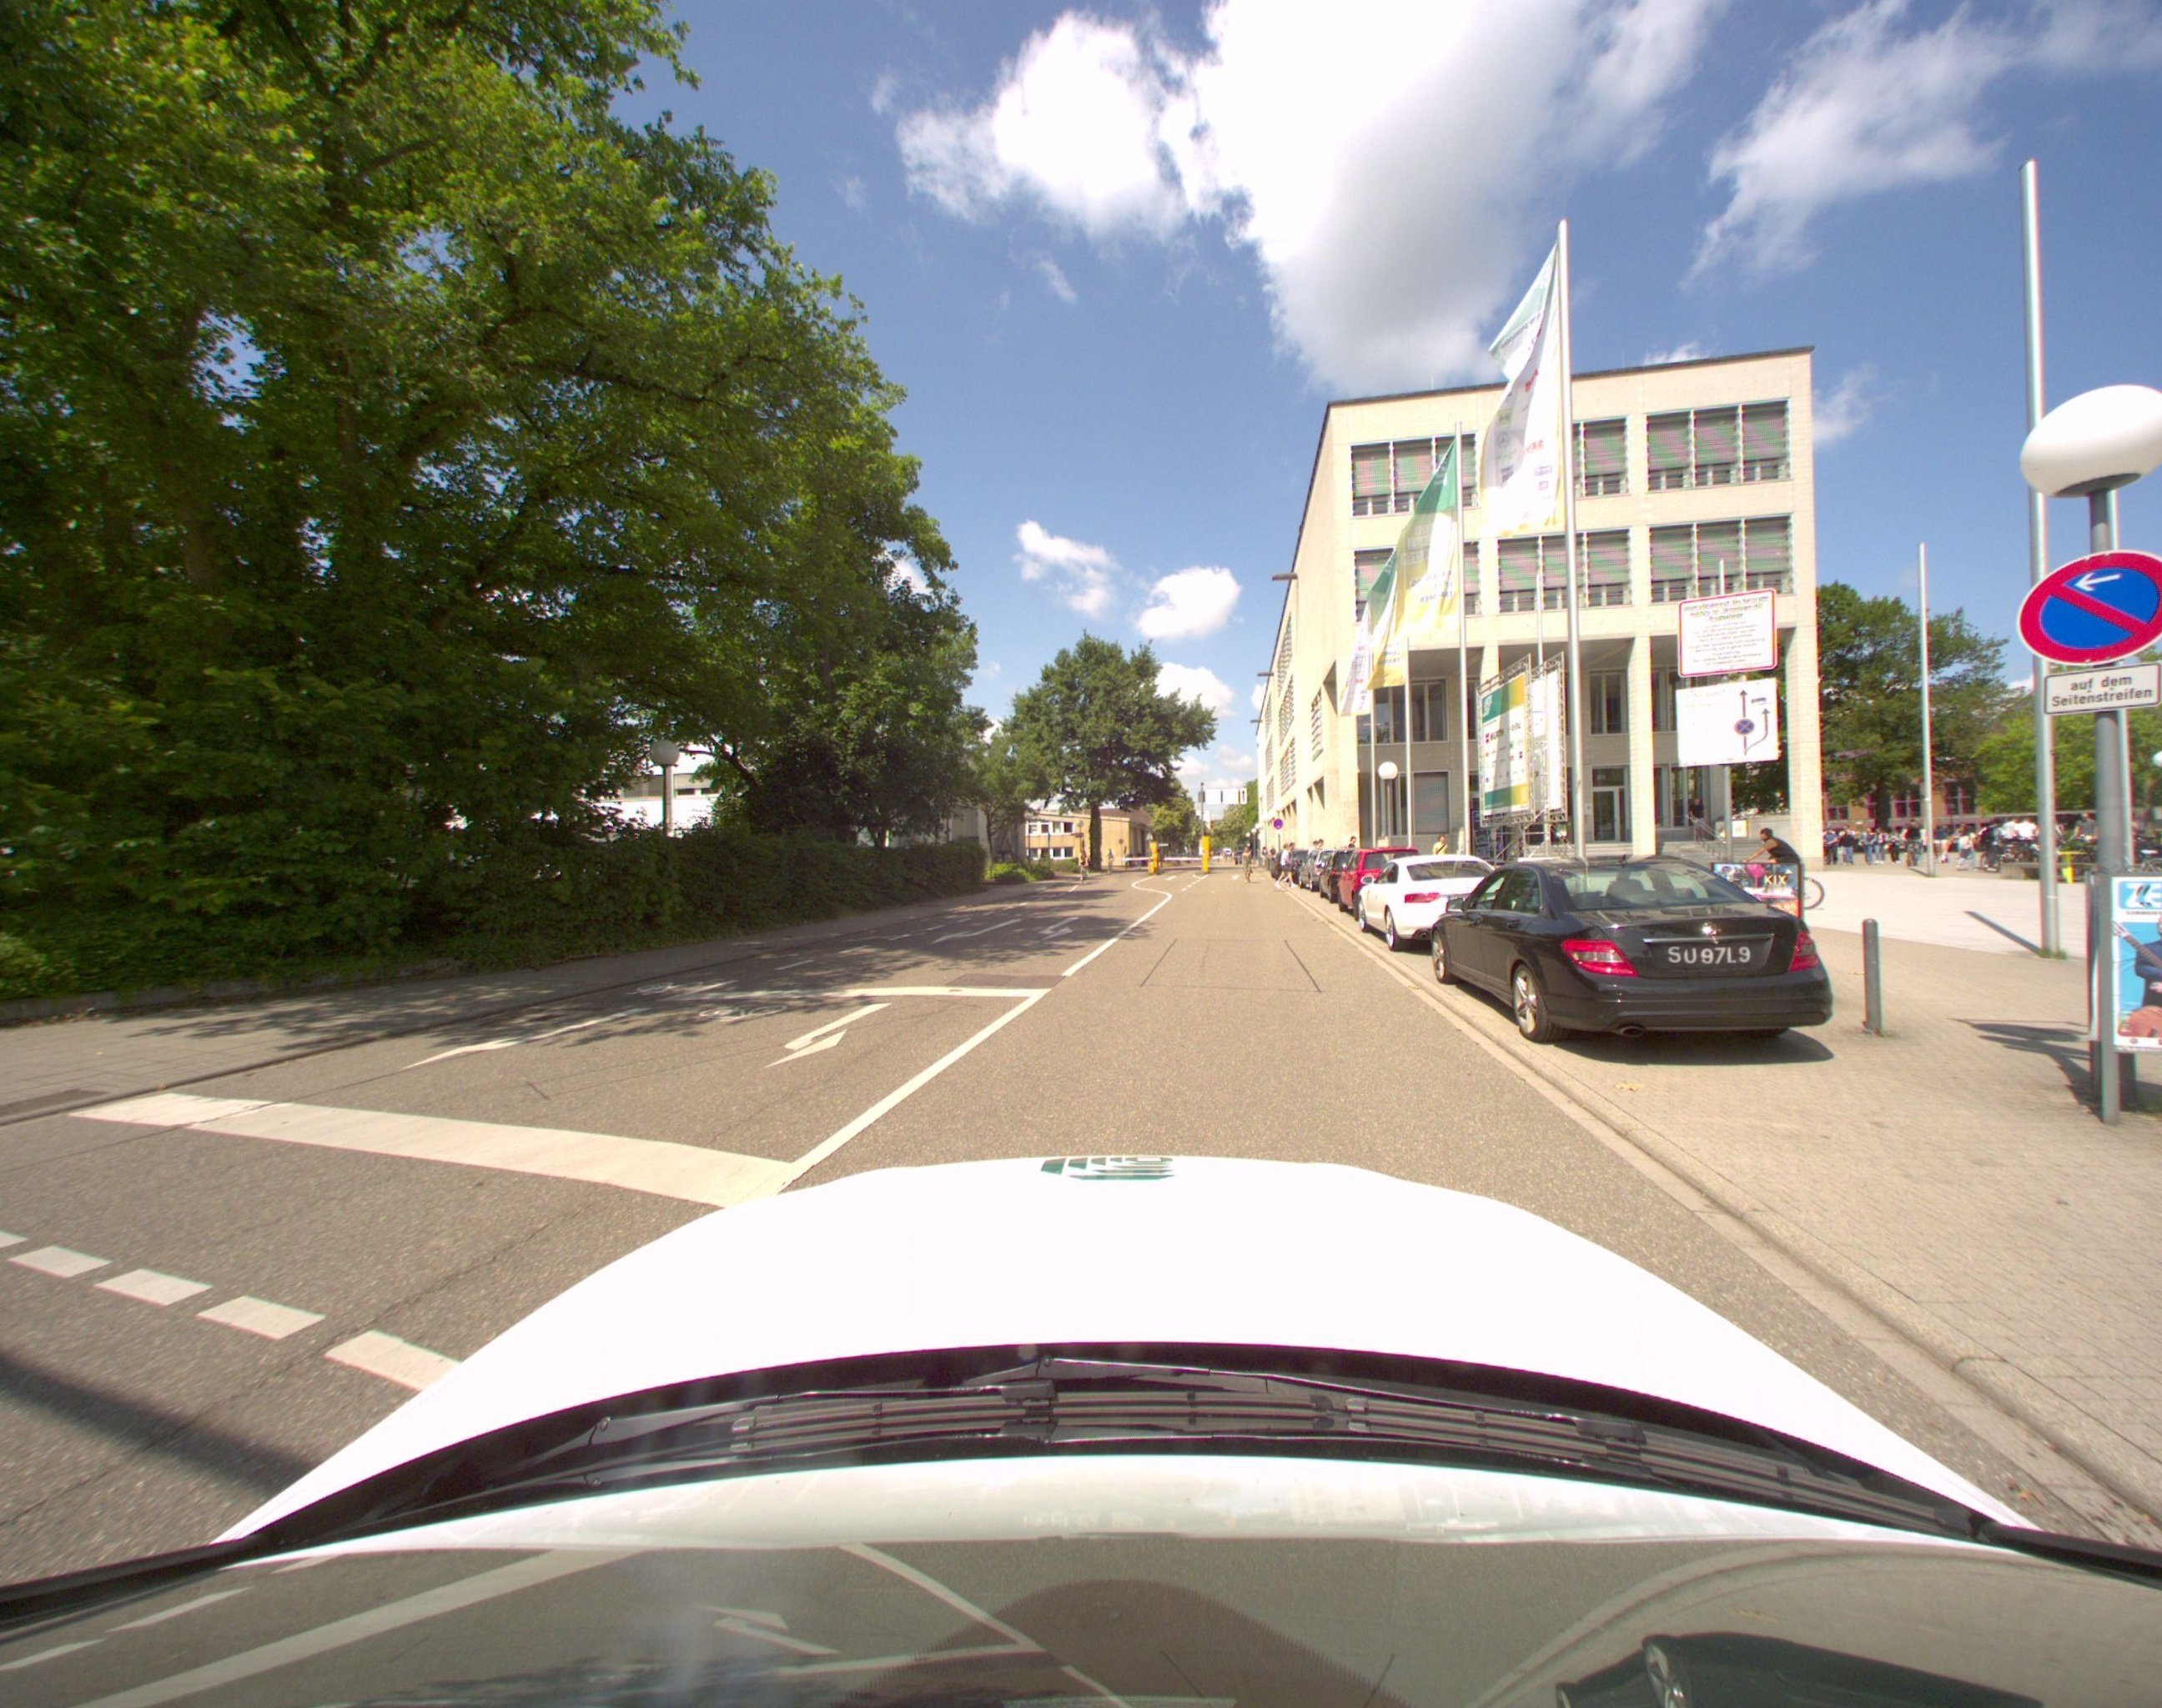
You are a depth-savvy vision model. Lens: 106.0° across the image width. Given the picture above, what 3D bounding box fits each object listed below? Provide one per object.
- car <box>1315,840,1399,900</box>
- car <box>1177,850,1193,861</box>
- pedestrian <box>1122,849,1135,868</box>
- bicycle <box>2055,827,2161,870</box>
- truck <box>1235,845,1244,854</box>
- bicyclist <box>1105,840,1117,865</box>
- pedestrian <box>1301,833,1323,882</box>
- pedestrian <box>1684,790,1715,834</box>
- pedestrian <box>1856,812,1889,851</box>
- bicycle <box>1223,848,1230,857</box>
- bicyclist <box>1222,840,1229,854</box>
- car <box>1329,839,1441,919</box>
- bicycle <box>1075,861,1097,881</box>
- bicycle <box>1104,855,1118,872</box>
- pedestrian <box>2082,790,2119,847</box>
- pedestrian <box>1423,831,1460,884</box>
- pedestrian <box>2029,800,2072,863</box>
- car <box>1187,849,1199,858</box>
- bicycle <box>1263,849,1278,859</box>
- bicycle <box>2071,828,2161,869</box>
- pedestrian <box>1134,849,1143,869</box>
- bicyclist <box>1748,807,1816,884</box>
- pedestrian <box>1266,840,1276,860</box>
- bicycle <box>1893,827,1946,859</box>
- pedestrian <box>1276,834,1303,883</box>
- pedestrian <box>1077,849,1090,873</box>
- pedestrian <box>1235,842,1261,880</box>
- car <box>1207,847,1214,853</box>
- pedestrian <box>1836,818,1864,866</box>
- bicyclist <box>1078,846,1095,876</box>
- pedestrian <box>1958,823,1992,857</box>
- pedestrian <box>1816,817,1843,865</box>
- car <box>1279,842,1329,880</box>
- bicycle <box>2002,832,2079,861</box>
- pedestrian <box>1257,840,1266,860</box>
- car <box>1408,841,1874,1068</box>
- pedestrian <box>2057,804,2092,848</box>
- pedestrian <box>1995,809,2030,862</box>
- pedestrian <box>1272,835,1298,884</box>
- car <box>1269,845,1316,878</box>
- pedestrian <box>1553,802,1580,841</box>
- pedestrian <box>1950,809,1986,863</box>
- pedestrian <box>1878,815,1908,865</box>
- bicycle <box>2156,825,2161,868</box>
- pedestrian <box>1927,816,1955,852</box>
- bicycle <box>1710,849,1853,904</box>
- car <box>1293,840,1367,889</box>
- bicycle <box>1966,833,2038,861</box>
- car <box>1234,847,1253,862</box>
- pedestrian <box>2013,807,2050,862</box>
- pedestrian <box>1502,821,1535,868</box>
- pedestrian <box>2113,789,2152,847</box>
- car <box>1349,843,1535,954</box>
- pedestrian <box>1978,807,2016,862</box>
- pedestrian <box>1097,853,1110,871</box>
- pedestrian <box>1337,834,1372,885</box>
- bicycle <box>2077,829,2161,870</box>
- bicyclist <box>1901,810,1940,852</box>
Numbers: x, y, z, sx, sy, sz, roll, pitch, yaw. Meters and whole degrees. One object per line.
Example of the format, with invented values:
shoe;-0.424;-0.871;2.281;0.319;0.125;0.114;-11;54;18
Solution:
car;7.855;0.422;23.508;1.708;1.529;4.012;-2;0;11
car;15.873;0.186;124.142;1.981;1.545;4.224;-2;0;10
pedestrian;4.554;0.405;78.253;1.050;1.815;0.808;-2;0;9
bicycle;28.764;-0.136;22.807;0.604;1.099;1.755;-1;-2;-21
truck;38.373;-1.025;197.396;1.982;2.014;4.009;-2;-2;9
bicyclist;2.186;-0.118;58.451;0.688;1.736;0.921;-2;-1;9
pedestrian;9.225;0.142;32.524;0.718;1.925;0.755;-2;0;18
pedestrian;26.326;-1.791;34.669;0.713;1.798;0.719;-2;-2;13
pedestrian;35.312;-0.996;36.345;0.861;1.702;0.638;-3;-2;28
bicycle;22.246;-0.228;124.847;0.981;1.316;2.972;-2;-2;10
bicyclist;22.168;-1.079;124.899;0.981;2.132;1.039;-2;-2;9
car;6.701;0.482;18.355;1.604;1.496;4.160;-4;0;11
bicycle;0.283;0.877;43.529;0.788;0.989;2.215;-2;0;9
bicycle;2.176;0.671;58.565;0.688;1.171;2.215;-2;0;9
pedestrian;40.836;-1.404;32.622;0.716;2.229;0.630;-1;-2;-20
pedestrian;12.289;0.107;27.795;0.912;1.740;1.004;-2;0;10
pedestrian;34.930;-0.798;29.344;0.637;2.229;0.845;0;-3;-36
car;20.846;-0.047;151.920;1.981;1.545;4.224;-2;0;10
bicycle;20.983;-0.038;90.333;1.532;1.066;0.651;-3;0;17
bicycle;29.459;-0.142;23.009;0.604;1.099;1.755;-1;-2;-21
pedestrian;5.460;0.468;77.632;0.701;1.809;1.004;-2;0;9
bicyclist;14.781;-0.179;17.182;0.666;1.564;0.923;-2;0;-36
pedestrian;17.483;-0.377;74.914;0.762;1.780;0.913;-4;0;8
bicycle;32.320;-0.439;31.386;1.690;1.137;0.679;-3;1;-16
pedestrian;8.380;0.171;32.740;0.774;1.925;0.739;-2;0;32
pedestrian;0.196;0.460;56.568;0.709;1.627;0.886;-2;0;9
pedestrian;7.672;0.314;37.404;0.625;1.717;1.032;-2;0;-22
car;40.598;-1.241;255.067;1.980;1.720;4.013;-2;-2;13
pedestrian;36.099;-0.553;38.224;0.707;2.229;0.638;-3;-2;28
bicyclist;0.288;0.373;43.573;0.688;1.548;1.021;-2;-1;9
pedestrian;38.555;-0.596;35.136;0.628;1.437;0.719;-2;-2;13
pedestrian;35.450;-0.624;38.584;0.707;2.229;0.638;-3;-2;28
car;9.680;0.284;35.574;1.605;1.496;4.016;-2;0;9
bicycle;28.855;-0.223;24.500;1.758;0.792;0.520;-2;0;-3
pedestrian;16.650;-0.340;75.140;0.691;1.780;1.088;-4;0;8
car;4.584;0.661;7.747;1.707;1.400;4.963;-4;0;10
pedestrian;40.613;-1.134;33.290;0.716;1.777;0.630;-1;-2;-20
pedestrian;39.804;-0.788;34.804;0.634;2.229;0.711;-1;-2;-20
pedestrian;8.027;0.211;32.084;0.776;1.925;0.597;-2;0;32
car;10.331;0.340;40.034;1.855;1.464;4.533;-2;0;10
pedestrian;20.781;-1.374;34.877;0.713;1.585;0.719;-2;-2;13
pedestrian;29.277;-0.582;26.879;0.626;1.747;0.721;-4;-3;39
pedestrian;36.804;-0.618;36.940;0.707;2.229;0.638;-3;-2;28
bicycle;27.692;-0.229;19.782;0.604;1.099;1.755;-1;-2;-21
pedestrian;37.487;-0.869;35.512;0.626;1.498;0.721;-3;-2;32
bicycle;14.766;0.437;17.225;0.908;1.078;2.131;-2;2;-36
car;8.759;0.338;29.006;1.710;1.529;4.576;-4;0;7
bicycle;28.972;-0.228;25.630;1.758;0.792;0.520;-2;0;-3
car;18.715;0.049;93.971;1.981;1.545;4.224;-2;0;10
pedestrian;39.679;-0.809;34.006;0.634;2.229;0.711;-1;-2;-20
pedestrian;15.566;-0.335;28.955;0.693;1.639;0.732;-2;0;-28
pedestrian;41.058;-1.400;31.804;0.716;2.229;0.630;-1;-2;-20
car;5.643;0.608;13.344;1.707;1.400;4.451;-5;-1;10
pedestrian;29.741;-0.612;26.448;0.626;1.747;0.721;-4;-3;39
pedestrian;2.125;0.750;77.750;0.876;1.632;0.902;-2;-1;29
pedestrian;10.513;0.215;31.339;1.088;1.920;1.024;-2;0;11
bicycle;30.103;-0.121;23.388;0.604;1.099;1.755;-1;-2;-21
bicyclist;32.389;-0.871;31.421;0.878;1.569;0.679;-3;1;-16
